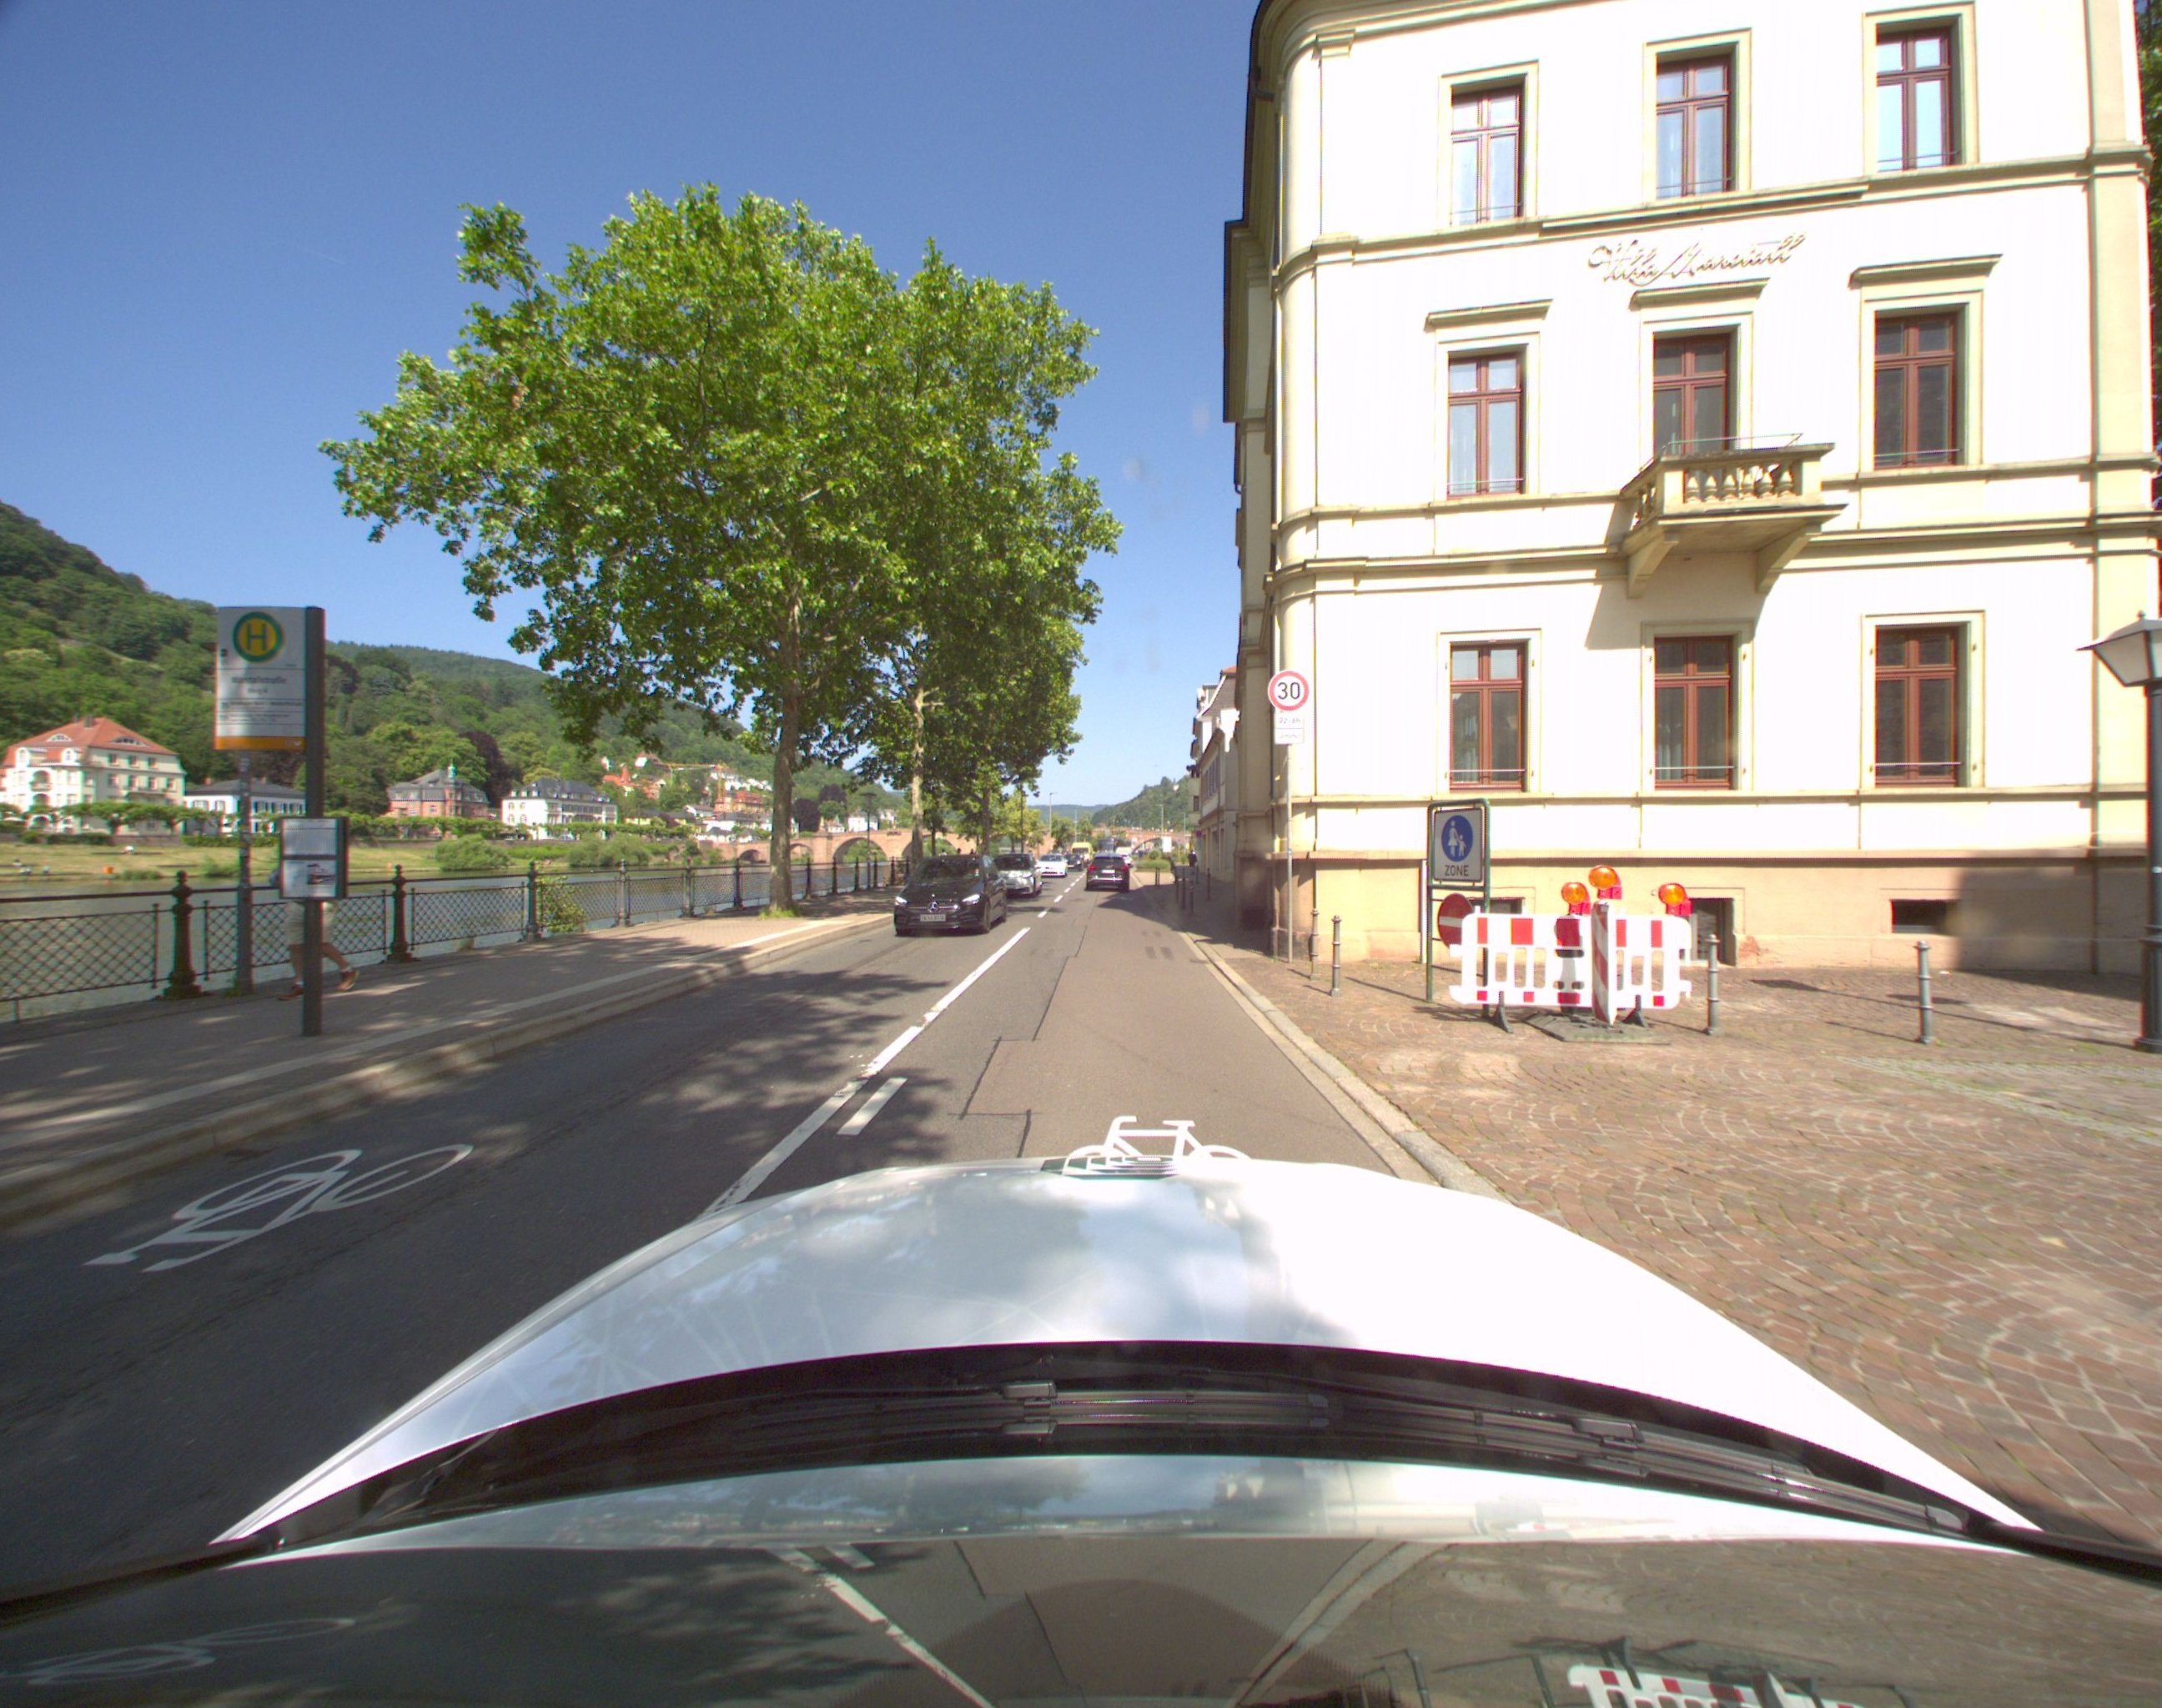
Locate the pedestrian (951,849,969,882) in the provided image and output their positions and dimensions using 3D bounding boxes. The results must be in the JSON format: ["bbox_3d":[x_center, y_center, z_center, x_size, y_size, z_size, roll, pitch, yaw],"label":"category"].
[{"bbox_3d":[-5.882,0.564,39.578,0.759,1.586,0.696,0,0,1],"label":"pedestrian"}]

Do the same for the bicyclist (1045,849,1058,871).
[{"bbox_3d":[-2.080,0.414,57.501,0.763,1.531,1.027,1,2,6],"label":"bicyclist"}]

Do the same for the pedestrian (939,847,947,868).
[{"bbox_3d":[-10.430,0.269,61.531,0.412,1.597,0.452,0,0,9],"label":"pedestrian"}]

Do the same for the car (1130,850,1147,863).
[{"bbox_3d":[7.248,0.257,102.600,1.916,1.553,4.841,-1,0,6],"label":"car"}]

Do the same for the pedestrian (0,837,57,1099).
[{"bbox_3d":[-6.920,0.705,4.803,0.492,1.617,0.992,0,0,1],"label":"pedestrian"}]

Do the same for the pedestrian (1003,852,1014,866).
[{"bbox_3d":[-7.017,0.489,78.863,0.931,1.281,0.852,0,0,10],"label":"pedestrian"}]

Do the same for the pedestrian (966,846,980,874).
[{"bbox_3d":[-6.600,0.367,49.855,0.654,1.682,0.758,2,0,1],"label":"pedestrian"}]

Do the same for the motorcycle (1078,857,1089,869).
[{"bbox_3d":[0.183,0.794,73.371,0.881,1.077,2.326,-1,0,-2],"label":"motorcycle"}]

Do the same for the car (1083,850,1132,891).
[{"bbox_3d":[1.145,0.676,34.678,1.919,1.553,4.834,1,-1,2],"label":"car"}]

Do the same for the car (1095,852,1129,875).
[{"bbox_3d":[2.127,0.606,54.258,1.917,1.461,4.840,0,0,6],"label":"car"}]

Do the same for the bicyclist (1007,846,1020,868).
[{"bbox_3d":[-4.707,0.205,57.041,0.716,1.583,1.090,0,0,3],"label":"bicyclist"}]

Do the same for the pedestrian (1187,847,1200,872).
[{"bbox_3d":[7.721,0.374,56.043,0.758,1.713,0.697,-3,-1,5],"label":"pedestrian"}]

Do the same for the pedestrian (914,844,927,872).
[{"bbox_3d":[-11.219,0.291,56.837,0.691,1.945,0.887,0,0,1],"label":"pedestrian"}]

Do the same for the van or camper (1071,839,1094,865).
[{"bbox_3d":[0.171,-0.176,84.917,2.079,2.557,7.097,0,0,3],"label":"van or camper"}]

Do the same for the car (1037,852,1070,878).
[{"bbox_3d":[-1.652,0.645,49.915,1.694,1.445,4.095,1,1,3],"label":"car"}]

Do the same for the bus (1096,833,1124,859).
[{"bbox_3d":[4.256,-1.014,117.045,2.616,3.564,13.013,0,-1,8],"label":"bus"}]

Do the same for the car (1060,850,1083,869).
[{"bbox_3d":[-0.764,0.445,66.901,1.694,1.458,4.004,-1,0,2],"label":"car"}]

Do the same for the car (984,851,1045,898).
[{"bbox_3d":[-2.316,0.694,29.291,1.729,1.518,4.405,-1,0,1],"label":"car"}]

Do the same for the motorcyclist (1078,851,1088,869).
[{"bbox_3d":[0.173,0.524,73.157,0.875,1.583,1.025,0,0,0],"label":"motorcyclist"}]

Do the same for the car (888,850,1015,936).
[{"bbox_3d":[-2.570,0.720,17.176,1.694,1.518,4.408,-2,0,3],"label":"car"}]

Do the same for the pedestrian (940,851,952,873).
[{"bbox_3d":[-10.267,0.615,62.004,0.689,1.616,0.665,0,0,9],"label":"pedestrian"}]

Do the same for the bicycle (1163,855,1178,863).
[{"bbox_3d":[10.822,0.649,98.616,1.801,0.878,0.503,2,1,5],"label":"bicycle"}]

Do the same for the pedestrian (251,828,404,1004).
[{"bbox_3d":[-7.992,0.625,8.690,0.709,1.764,0.972,0,0,1],"label":"pedestrian"}]

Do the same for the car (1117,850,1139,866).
[{"bbox_3d":[4.737,0.379,81.638,1.916,1.553,4.841,-1,0,6],"label":"car"}]
